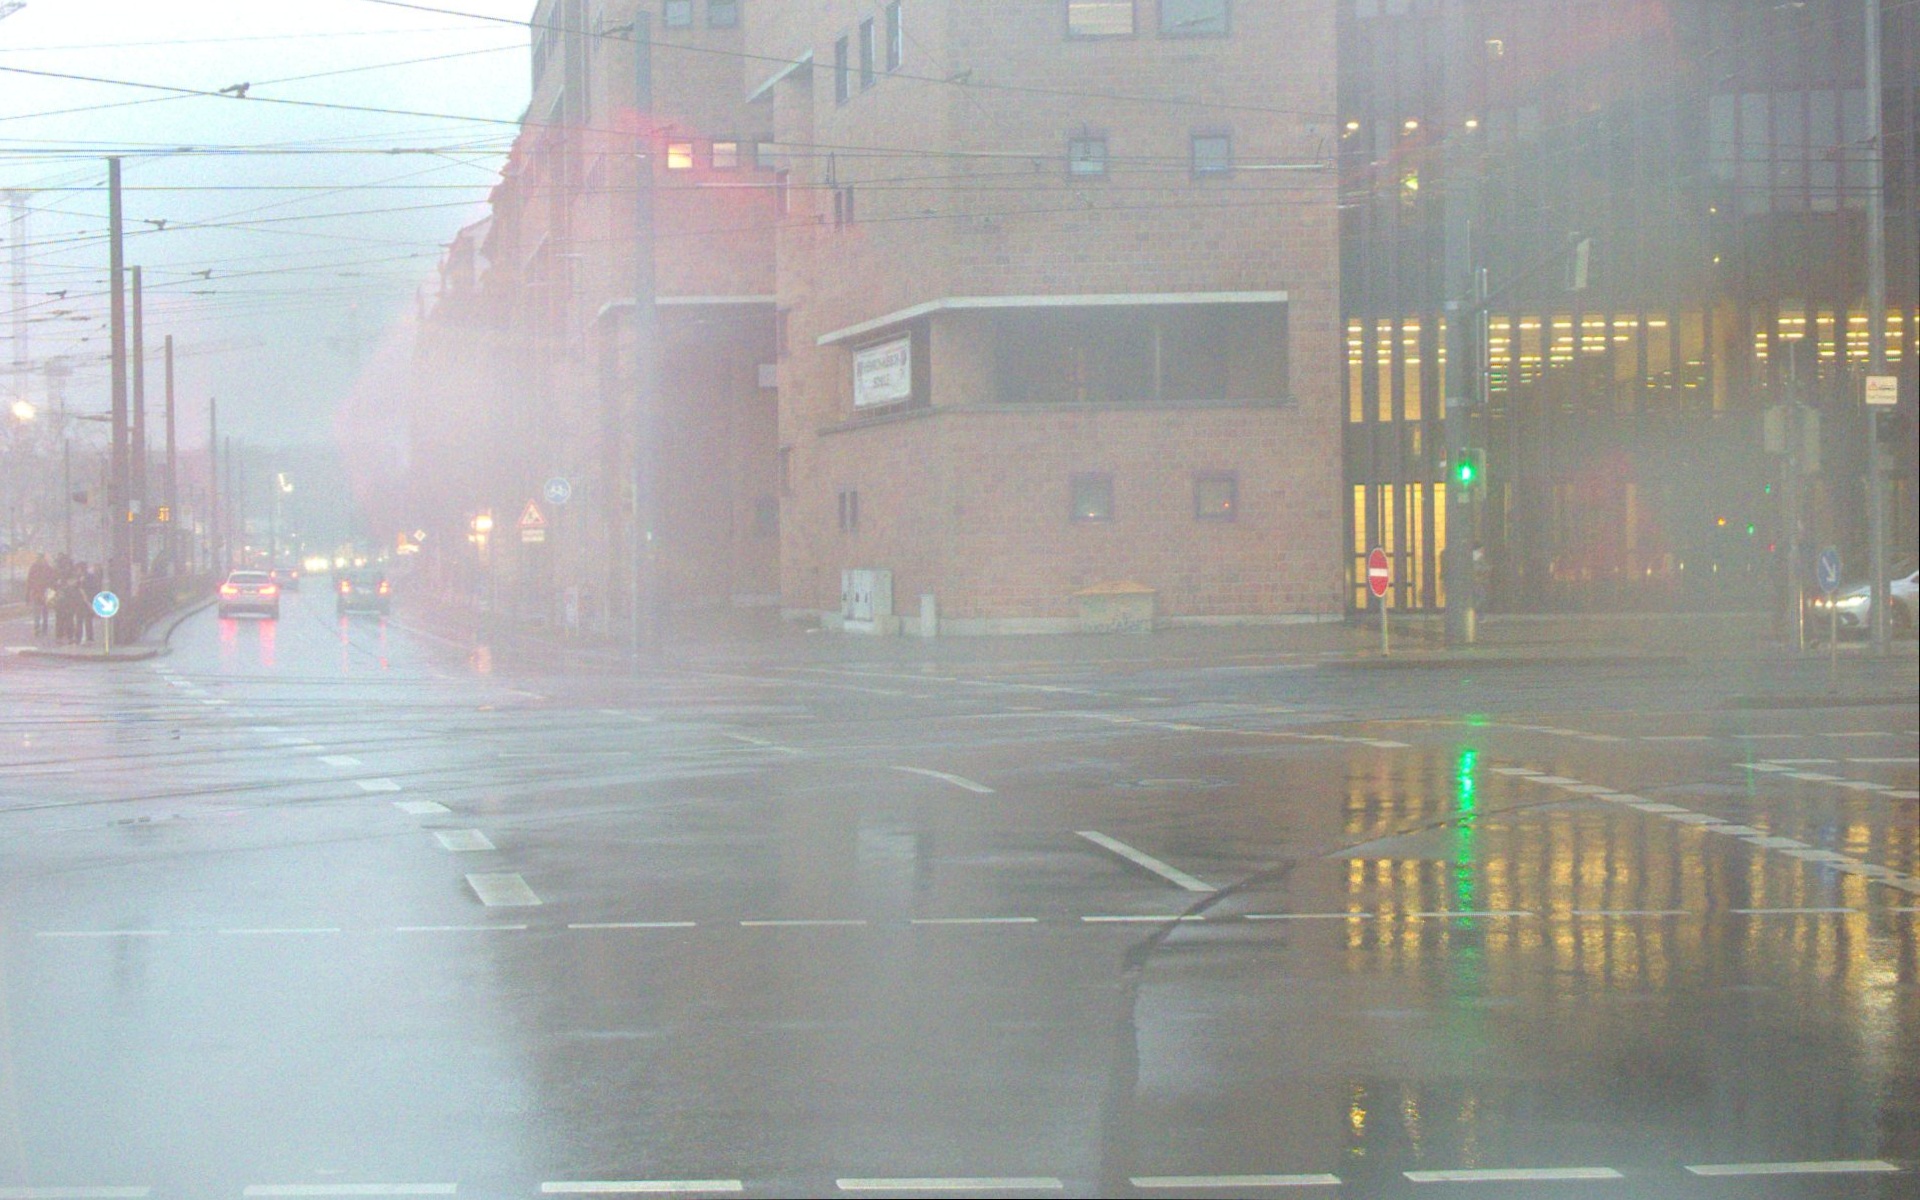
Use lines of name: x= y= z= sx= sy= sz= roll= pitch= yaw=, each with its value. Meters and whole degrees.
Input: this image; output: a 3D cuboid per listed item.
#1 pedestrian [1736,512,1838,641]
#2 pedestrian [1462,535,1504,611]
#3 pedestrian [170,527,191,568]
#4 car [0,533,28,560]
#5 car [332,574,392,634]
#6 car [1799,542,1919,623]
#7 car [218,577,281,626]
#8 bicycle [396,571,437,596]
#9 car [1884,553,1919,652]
pedestrian: x=11.578 y=-0.333 z=48.138 sx=1.148 sy=1.781 sz=0.778 roll=-1 pitch=1 yaw=-10
pedestrian: x=9.672 y=-0.504 z=63.578 sx=0.737 sy=1.384 sz=0.737 roll=-1 pitch=1 yaw=11
pedestrian: x=-29.040 y=-1.942 z=128.067 sx=0.679 sy=1.511 sz=0.619 roll=0 pitch=1 yaw=-23
car: x=-48.775 y=-2.759 z=176.254 sx=1.681 sy=1.349 sz=3.547 roll=0 pitch=0 yaw=-12
car: x=-21.011 y=0.117 z=120.930 sx=1.993 sy=2.007 sz=4.001 roll=-1 pitch=1 yaw=-9
car: x=16.082 y=-0.307 z=56.681 sx=3.980 sy=1.305 sz=1.815 roll=-1 pitch=1 yaw=-8
car: x=-22.422 y=0.046 z=108.550 sx=1.783 sy=1.462 sz=3.149 roll=-1 pitch=1 yaw=-9
bicycle: x=-24.107 y=-0.734 z=152.525 sx=1.729 sy=1.051 sz=0.371 roll=-2 pitch=1 yaw=-12
car: x=15.045 y=-0.037 z=47.442 sx=3.980 sy=1.336 sz=1.815 roll=-2 pitch=1 yaw=-8
